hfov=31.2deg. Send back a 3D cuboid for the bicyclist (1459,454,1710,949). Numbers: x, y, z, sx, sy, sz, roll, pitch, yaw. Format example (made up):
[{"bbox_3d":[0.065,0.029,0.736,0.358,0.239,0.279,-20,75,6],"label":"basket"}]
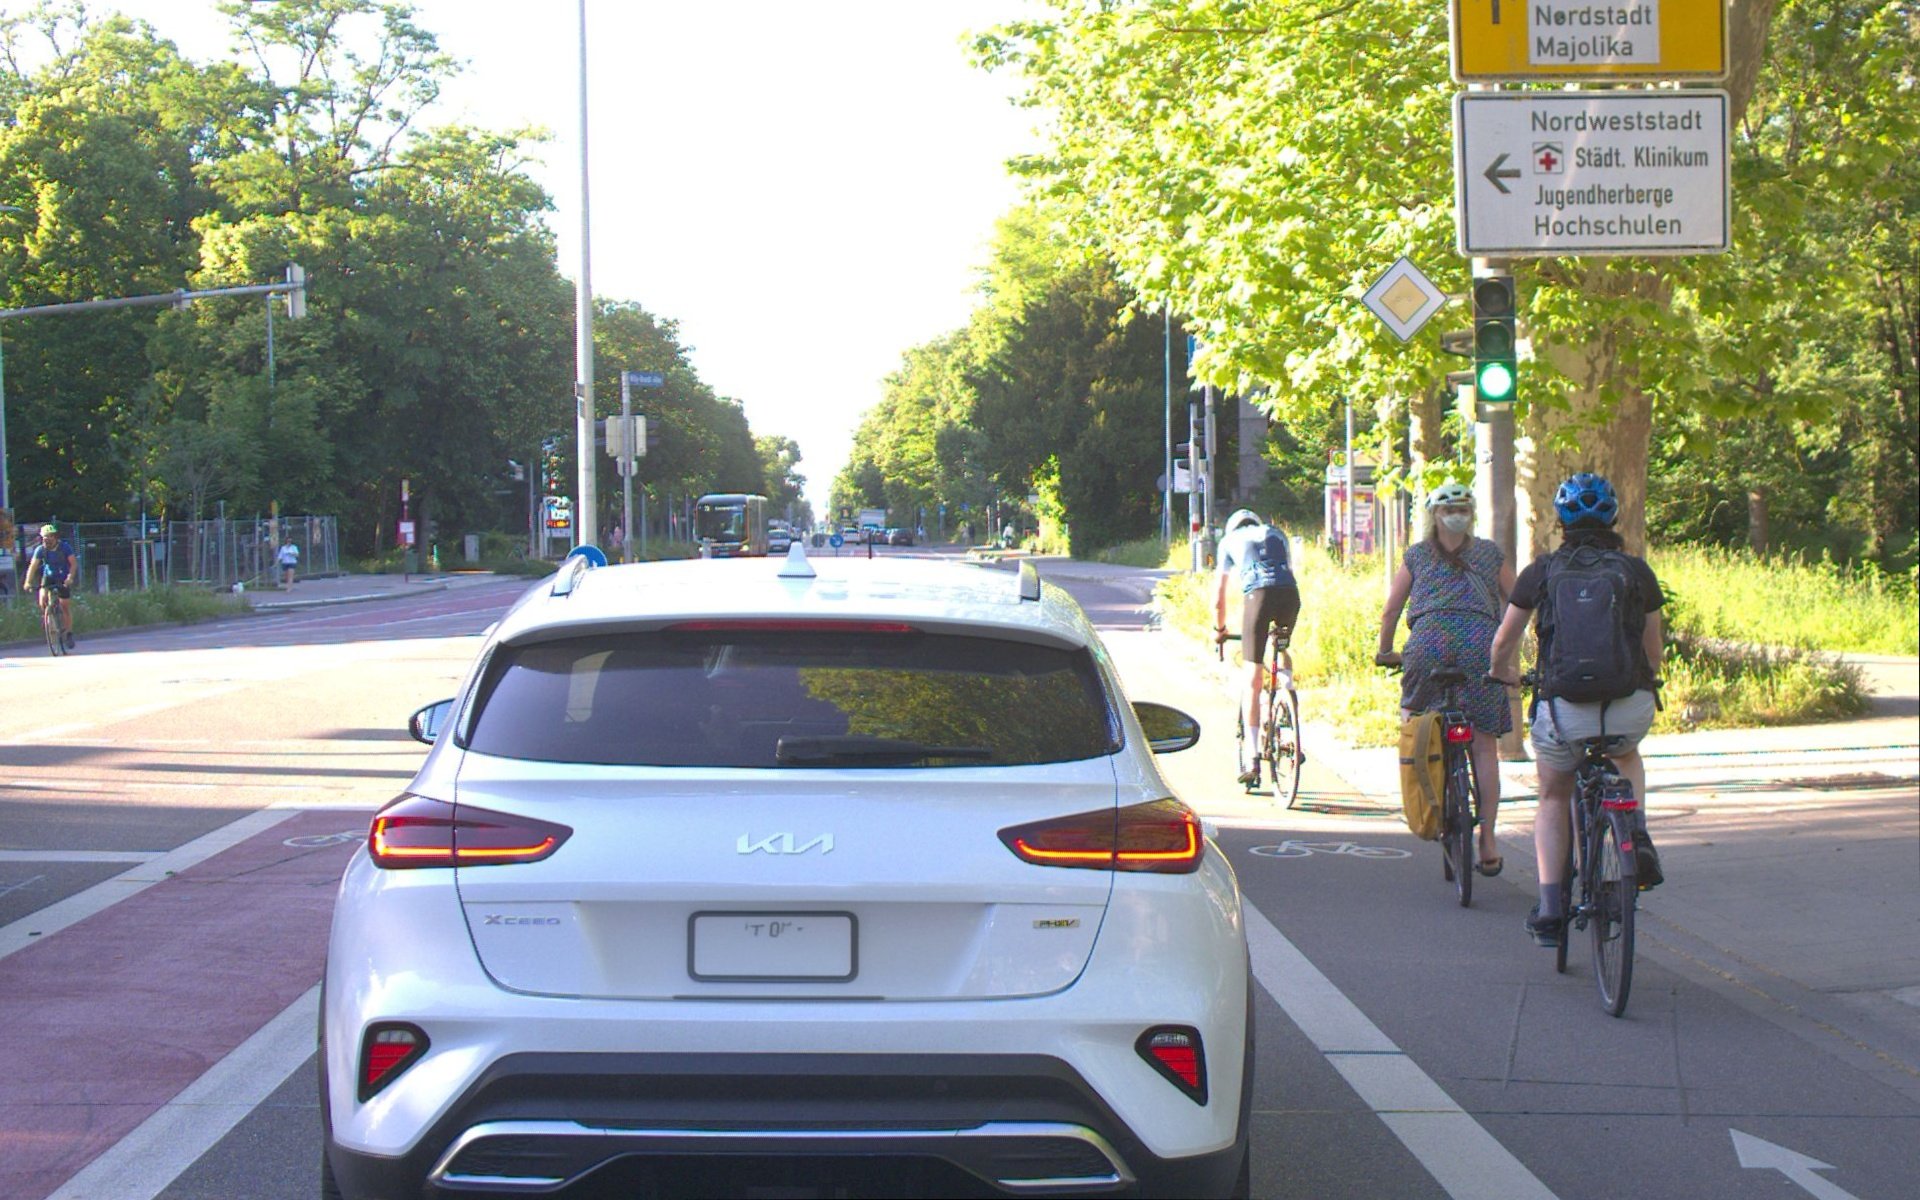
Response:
[{"bbox_3d":[2.074,0.322,11.487,0.665,1.596,0.721,1,1,-2],"label":"bicyclist"}]

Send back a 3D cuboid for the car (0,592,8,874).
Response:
[{"bbox_3d":[-4.967,0.543,12.737,1.704,1.400,4.265,-1,1,-1],"label":"car"}]

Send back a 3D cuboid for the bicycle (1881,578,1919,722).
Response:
[{"bbox_3d":[7.537,0.308,23.842,2.092,0.972,0.751,-2,1,-13],"label":"bicycle"}]

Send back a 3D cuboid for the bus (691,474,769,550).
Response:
[{"bbox_3d":[-11.642,-4.447,174.783,3.741,3.660,13.242,-1,1,-3],"label":"bus"}]

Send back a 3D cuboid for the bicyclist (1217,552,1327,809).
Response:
[{"bbox_3d":[1.817,0.456,20.084,0.554,1.473,0.717,0,1,-1],"label":"bicyclist"}]

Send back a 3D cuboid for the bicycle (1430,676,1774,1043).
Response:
[{"bbox_3d":[2.073,0.805,11.387,0.668,1.006,2.081,1,1,-2],"label":"bicycle"}]

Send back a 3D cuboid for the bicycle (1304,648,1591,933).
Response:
[{"bbox_3d":[2.040,0.767,14.762,0.758,1.009,2.570,1,1,-2],"label":"bicycle"}]

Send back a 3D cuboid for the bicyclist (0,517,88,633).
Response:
[{"bbox_3d":[-12.969,-0.359,48.695,0.875,1.603,1.188,-1,1,1],"label":"bicyclist"}]

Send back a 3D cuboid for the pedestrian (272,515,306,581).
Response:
[{"bbox_3d":[-18.423,-1.428,94.360,0.785,1.779,0.751,0,1,0],"label":"pedestrian"}]

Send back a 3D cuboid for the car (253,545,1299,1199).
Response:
[{"bbox_3d":[-0.384,0.629,7.980,1.821,1.475,3.937,0,1,-2],"label":"car"}]

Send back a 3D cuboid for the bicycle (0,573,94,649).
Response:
[{"bbox_3d":[-12.958,0.145,48.665,0.663,0.985,2.504,-1,1,2],"label":"bicycle"}]

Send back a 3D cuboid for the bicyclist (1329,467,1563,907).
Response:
[{"bbox_3d":[2.048,0.344,14.634,0.753,1.789,1.165,1,1,-2],"label":"bicyclist"}]

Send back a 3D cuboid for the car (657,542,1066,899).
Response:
[{"bbox_3d":[-0.490,0.488,16.564,1.728,1.478,3.517,-1,1,-2],"label":"car"}]

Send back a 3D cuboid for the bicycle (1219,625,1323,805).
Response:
[{"bbox_3d":[1.802,0.650,20.037,0.401,0.953,1.551,-4,1,0],"label":"bicycle"}]
